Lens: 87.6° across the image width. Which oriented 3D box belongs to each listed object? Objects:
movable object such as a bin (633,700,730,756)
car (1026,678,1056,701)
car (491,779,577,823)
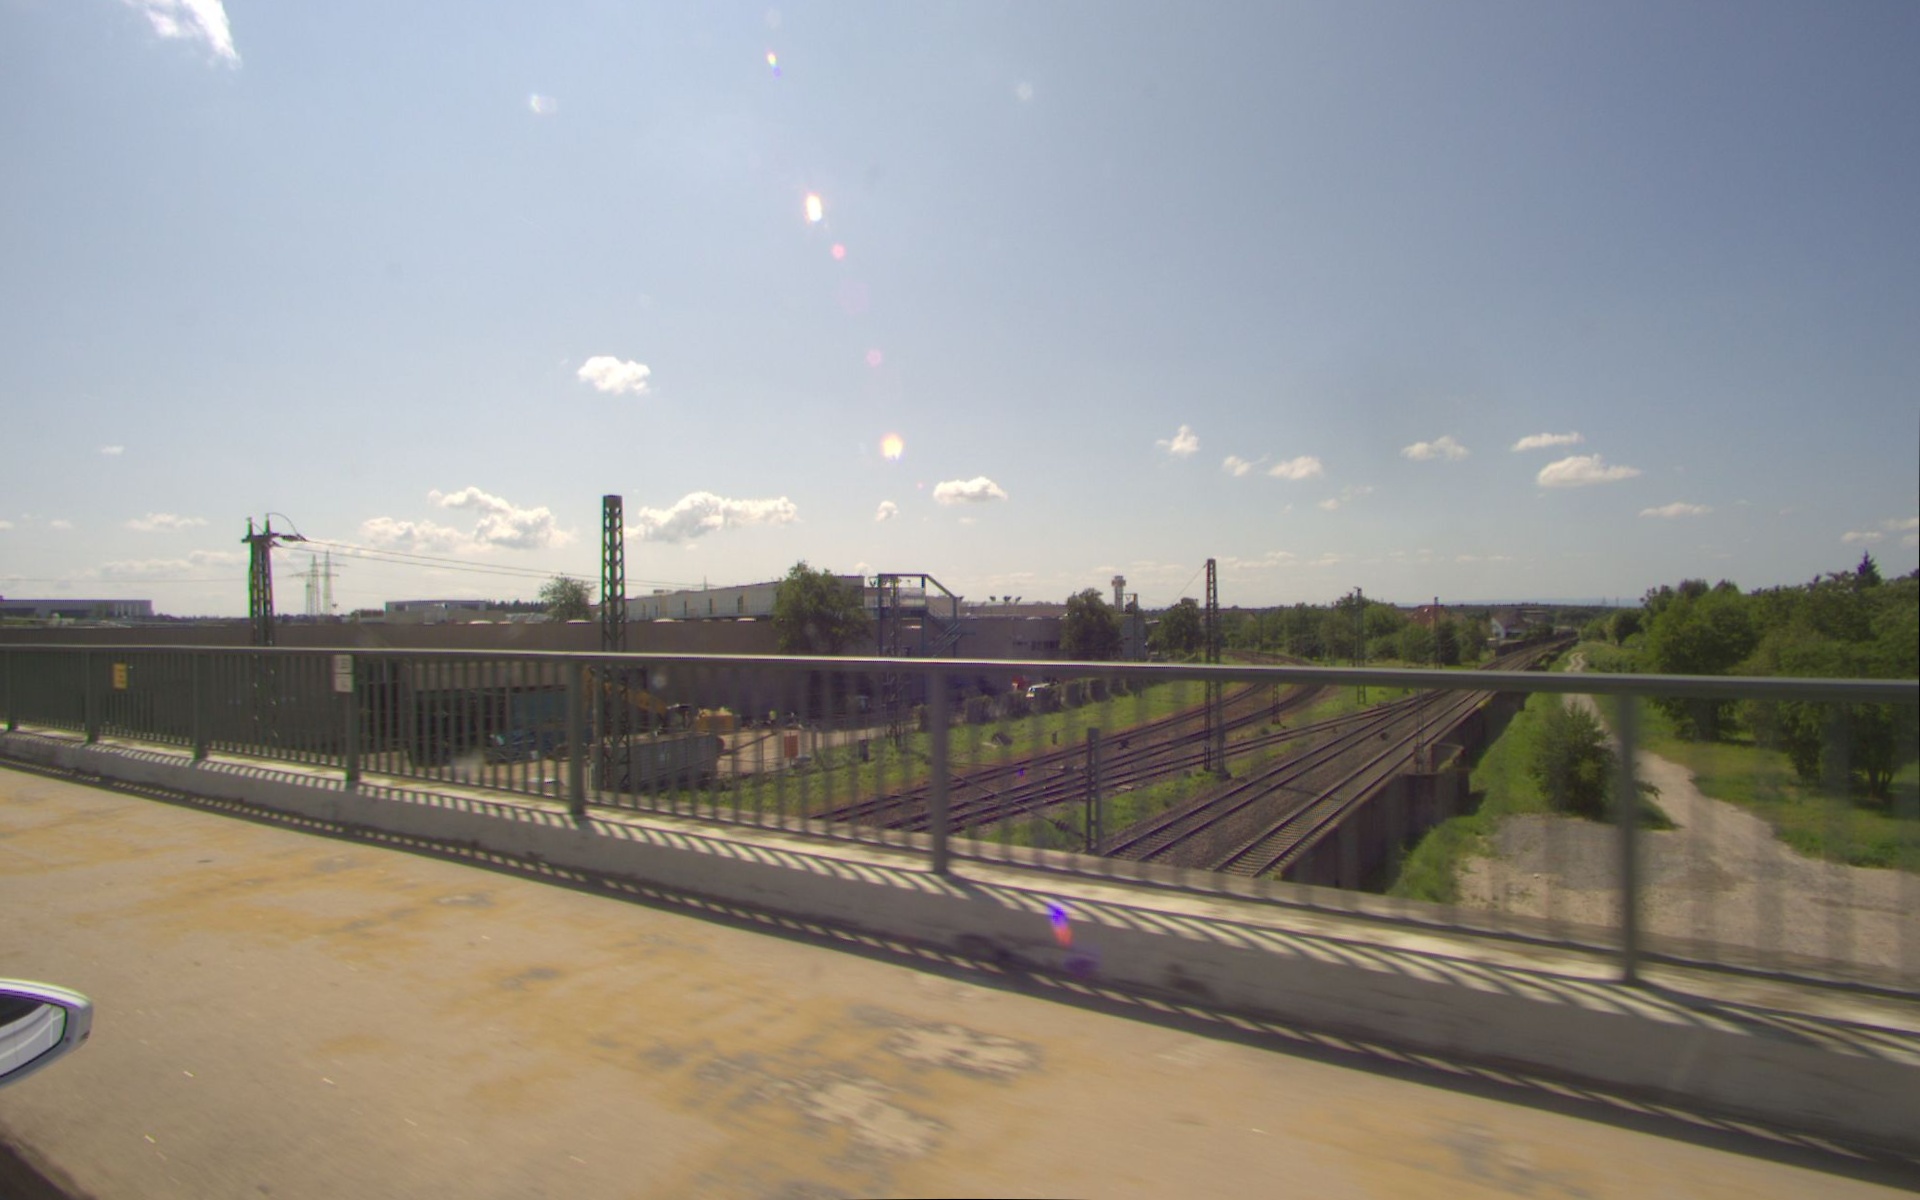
[{"bbox_3d":[-19.803,9.009,71.191,6.133,3.333,3.232,0,0,-29],"label":"movable object such as a bin"},{"bbox_3d":[8.642,9.487,106.598,1.968,2.040,3.987,-1,0,25],"label":"car"},{"bbox_3d":[-21.016,9.849,49.375,4.188,1.614,1.990,-1,-6,36],"label":"car"}]
